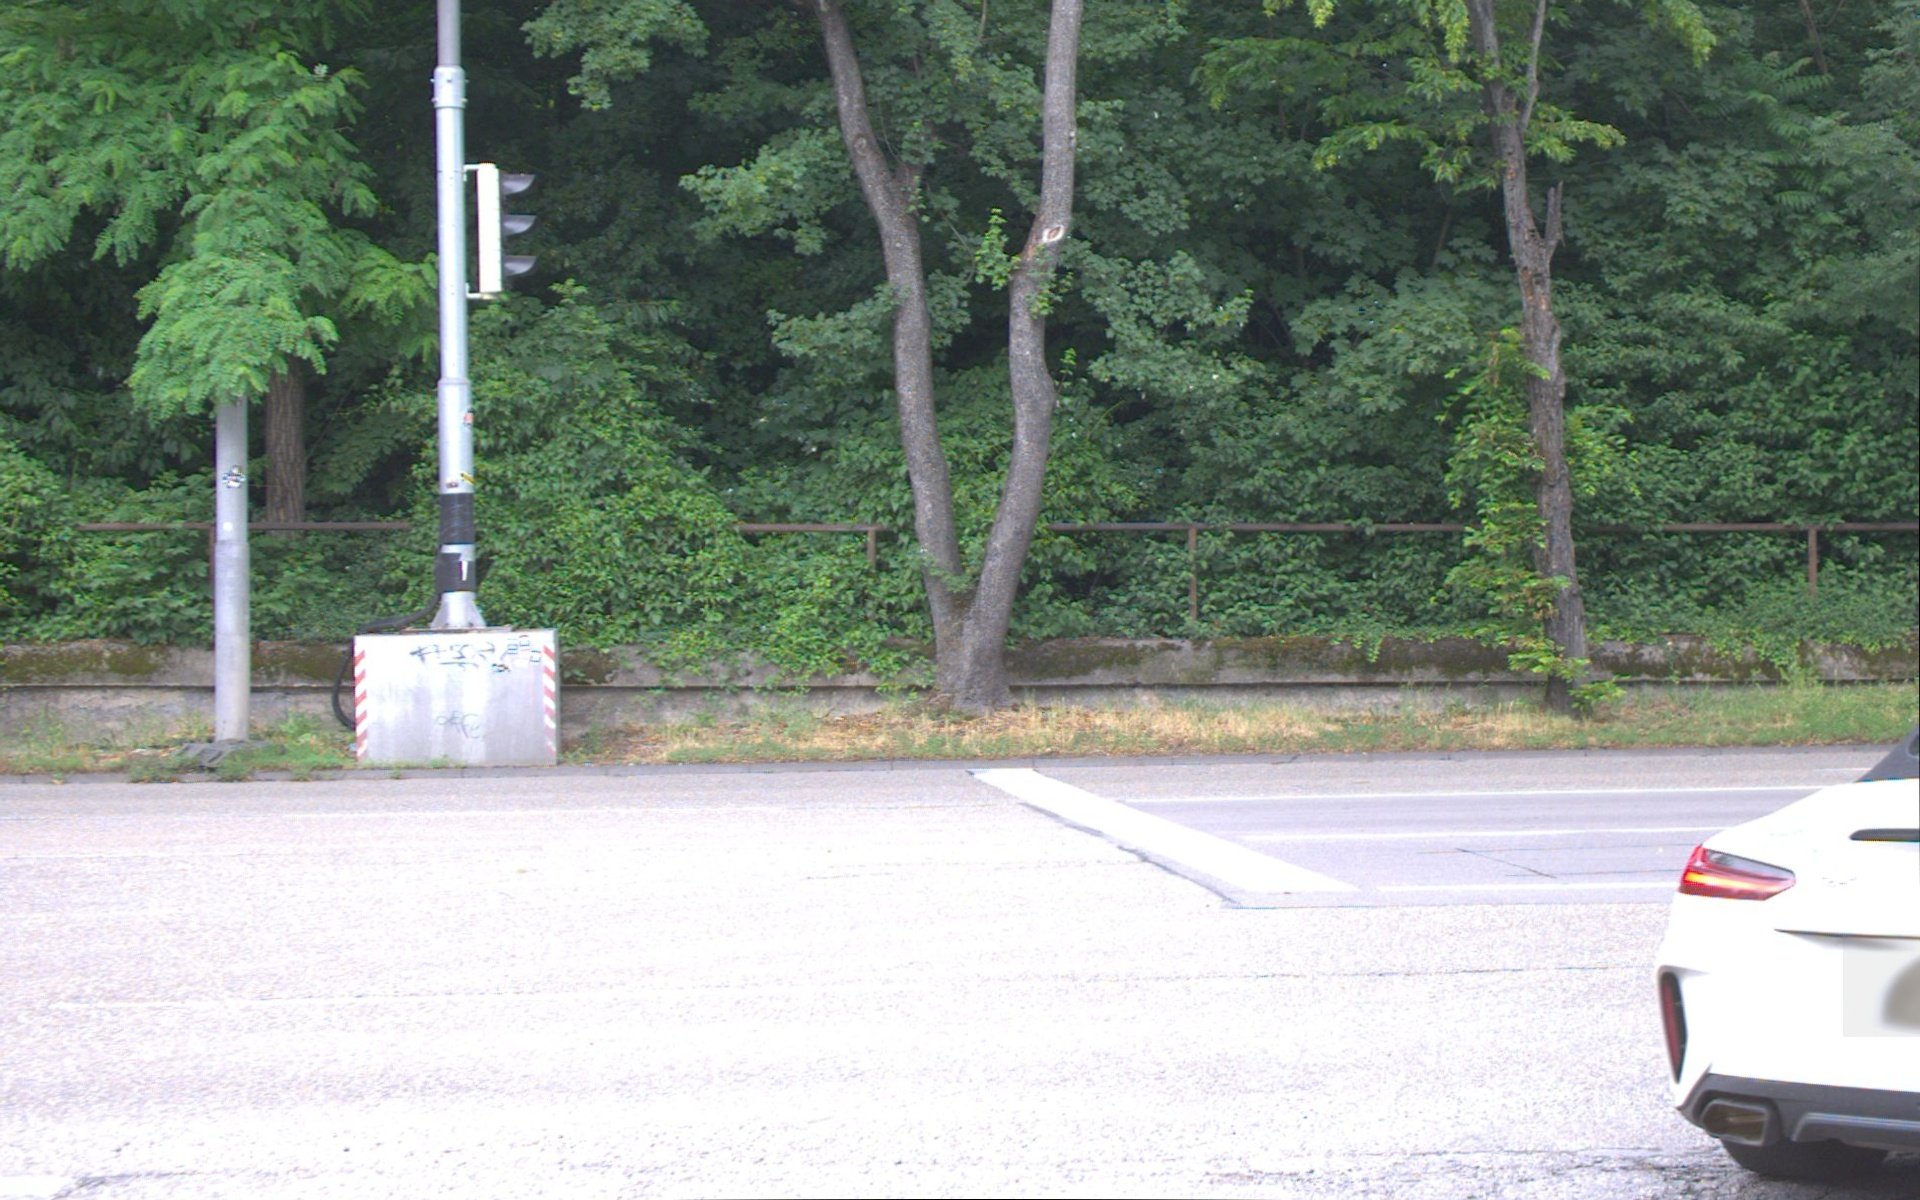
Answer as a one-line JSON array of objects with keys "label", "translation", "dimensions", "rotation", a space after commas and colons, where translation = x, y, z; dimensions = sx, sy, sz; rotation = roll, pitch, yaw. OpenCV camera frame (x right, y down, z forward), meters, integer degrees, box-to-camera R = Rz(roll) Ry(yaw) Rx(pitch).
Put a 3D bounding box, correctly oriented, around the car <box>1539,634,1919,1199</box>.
[{"label": "car", "translation": [3.185, 0.736, 8.363], "dimensions": [1.879, 1.305, 3.864], "rotation": [-1, 0, 38]}]
